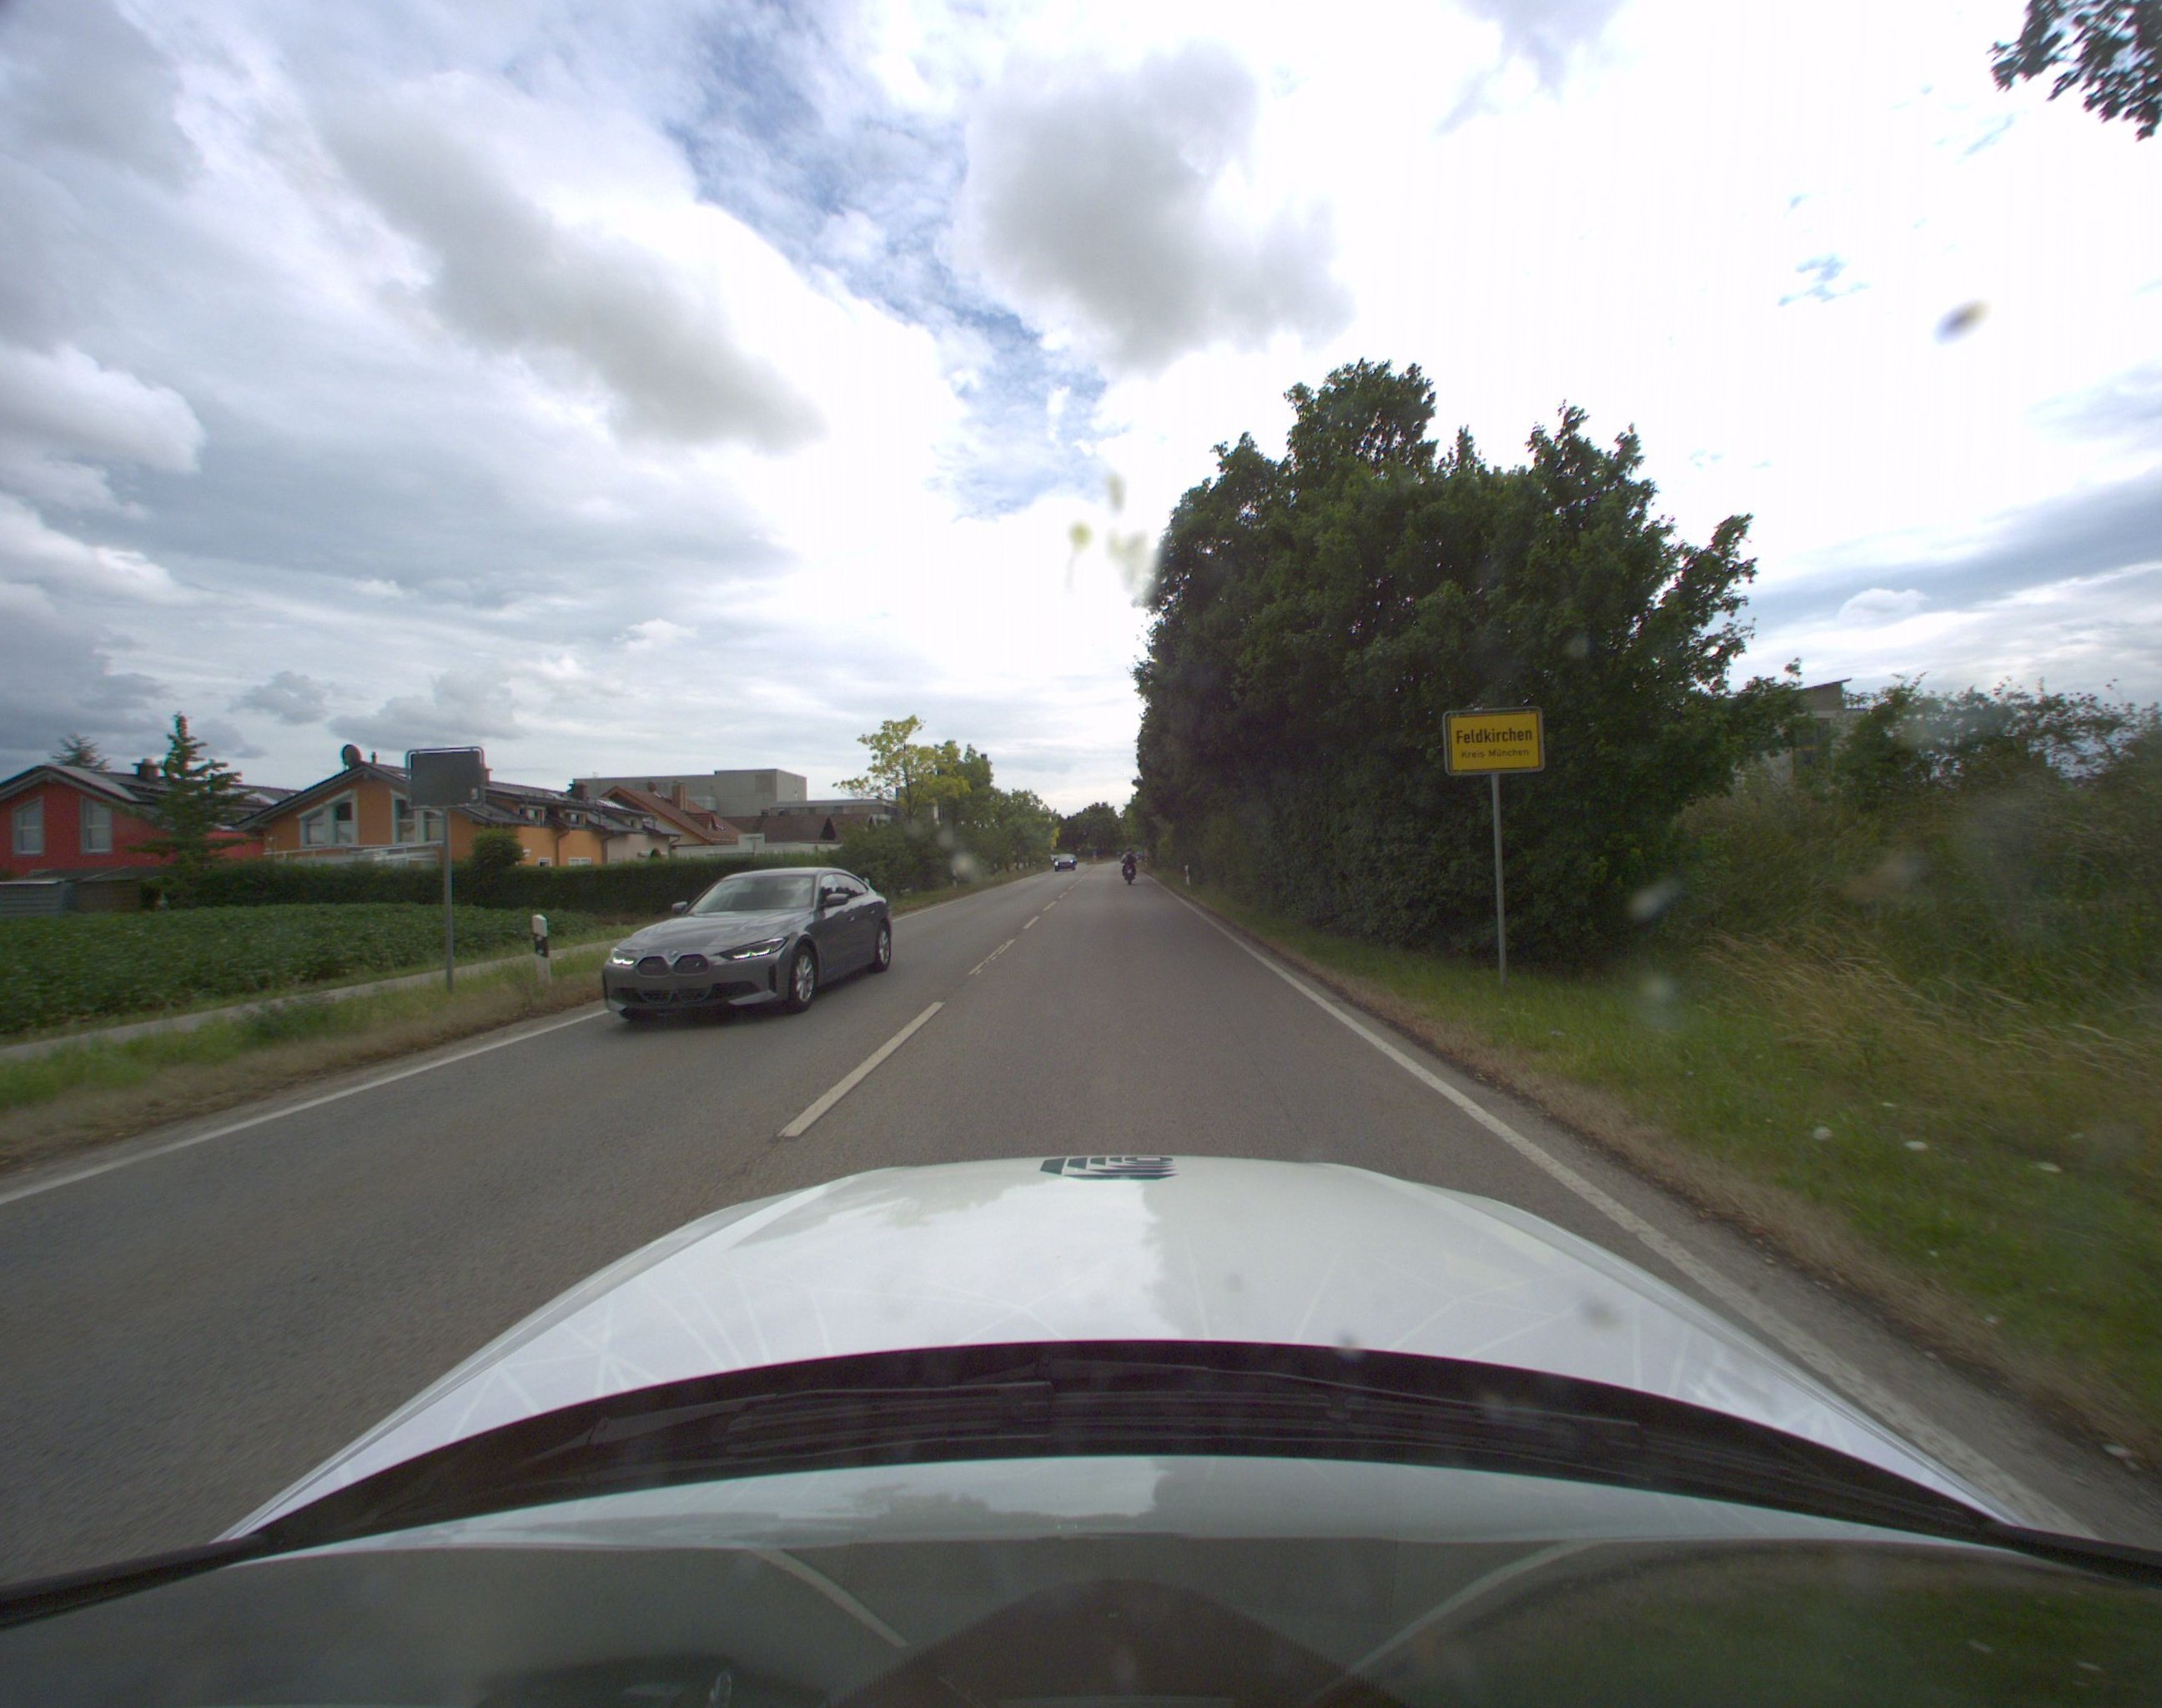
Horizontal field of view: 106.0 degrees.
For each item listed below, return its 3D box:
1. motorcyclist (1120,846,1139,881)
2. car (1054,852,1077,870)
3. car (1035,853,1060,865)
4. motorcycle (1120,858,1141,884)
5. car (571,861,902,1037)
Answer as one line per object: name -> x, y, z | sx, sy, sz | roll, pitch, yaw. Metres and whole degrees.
motorcyclist -> 2.325, 0.456, 39.032 | 0.858, 1.623, 1.191 | -2, 0, 2
car -> -1.413, 0.587, 74.969 | 1.809, 1.494, 4.206 | -3, 0, 2
car -> -5.213, 0.785, 126.518 | 1.747, 1.534, 4.048 | -5, 0, -38
motorcycle -> 2.329, 0.807, 38.893 | 0.893, 1.158, 2.621 | -2, 0, 2
car -> -3.607, 0.879, 9.566 | 1.845, 1.464, 4.372 | -3, 0, 2
